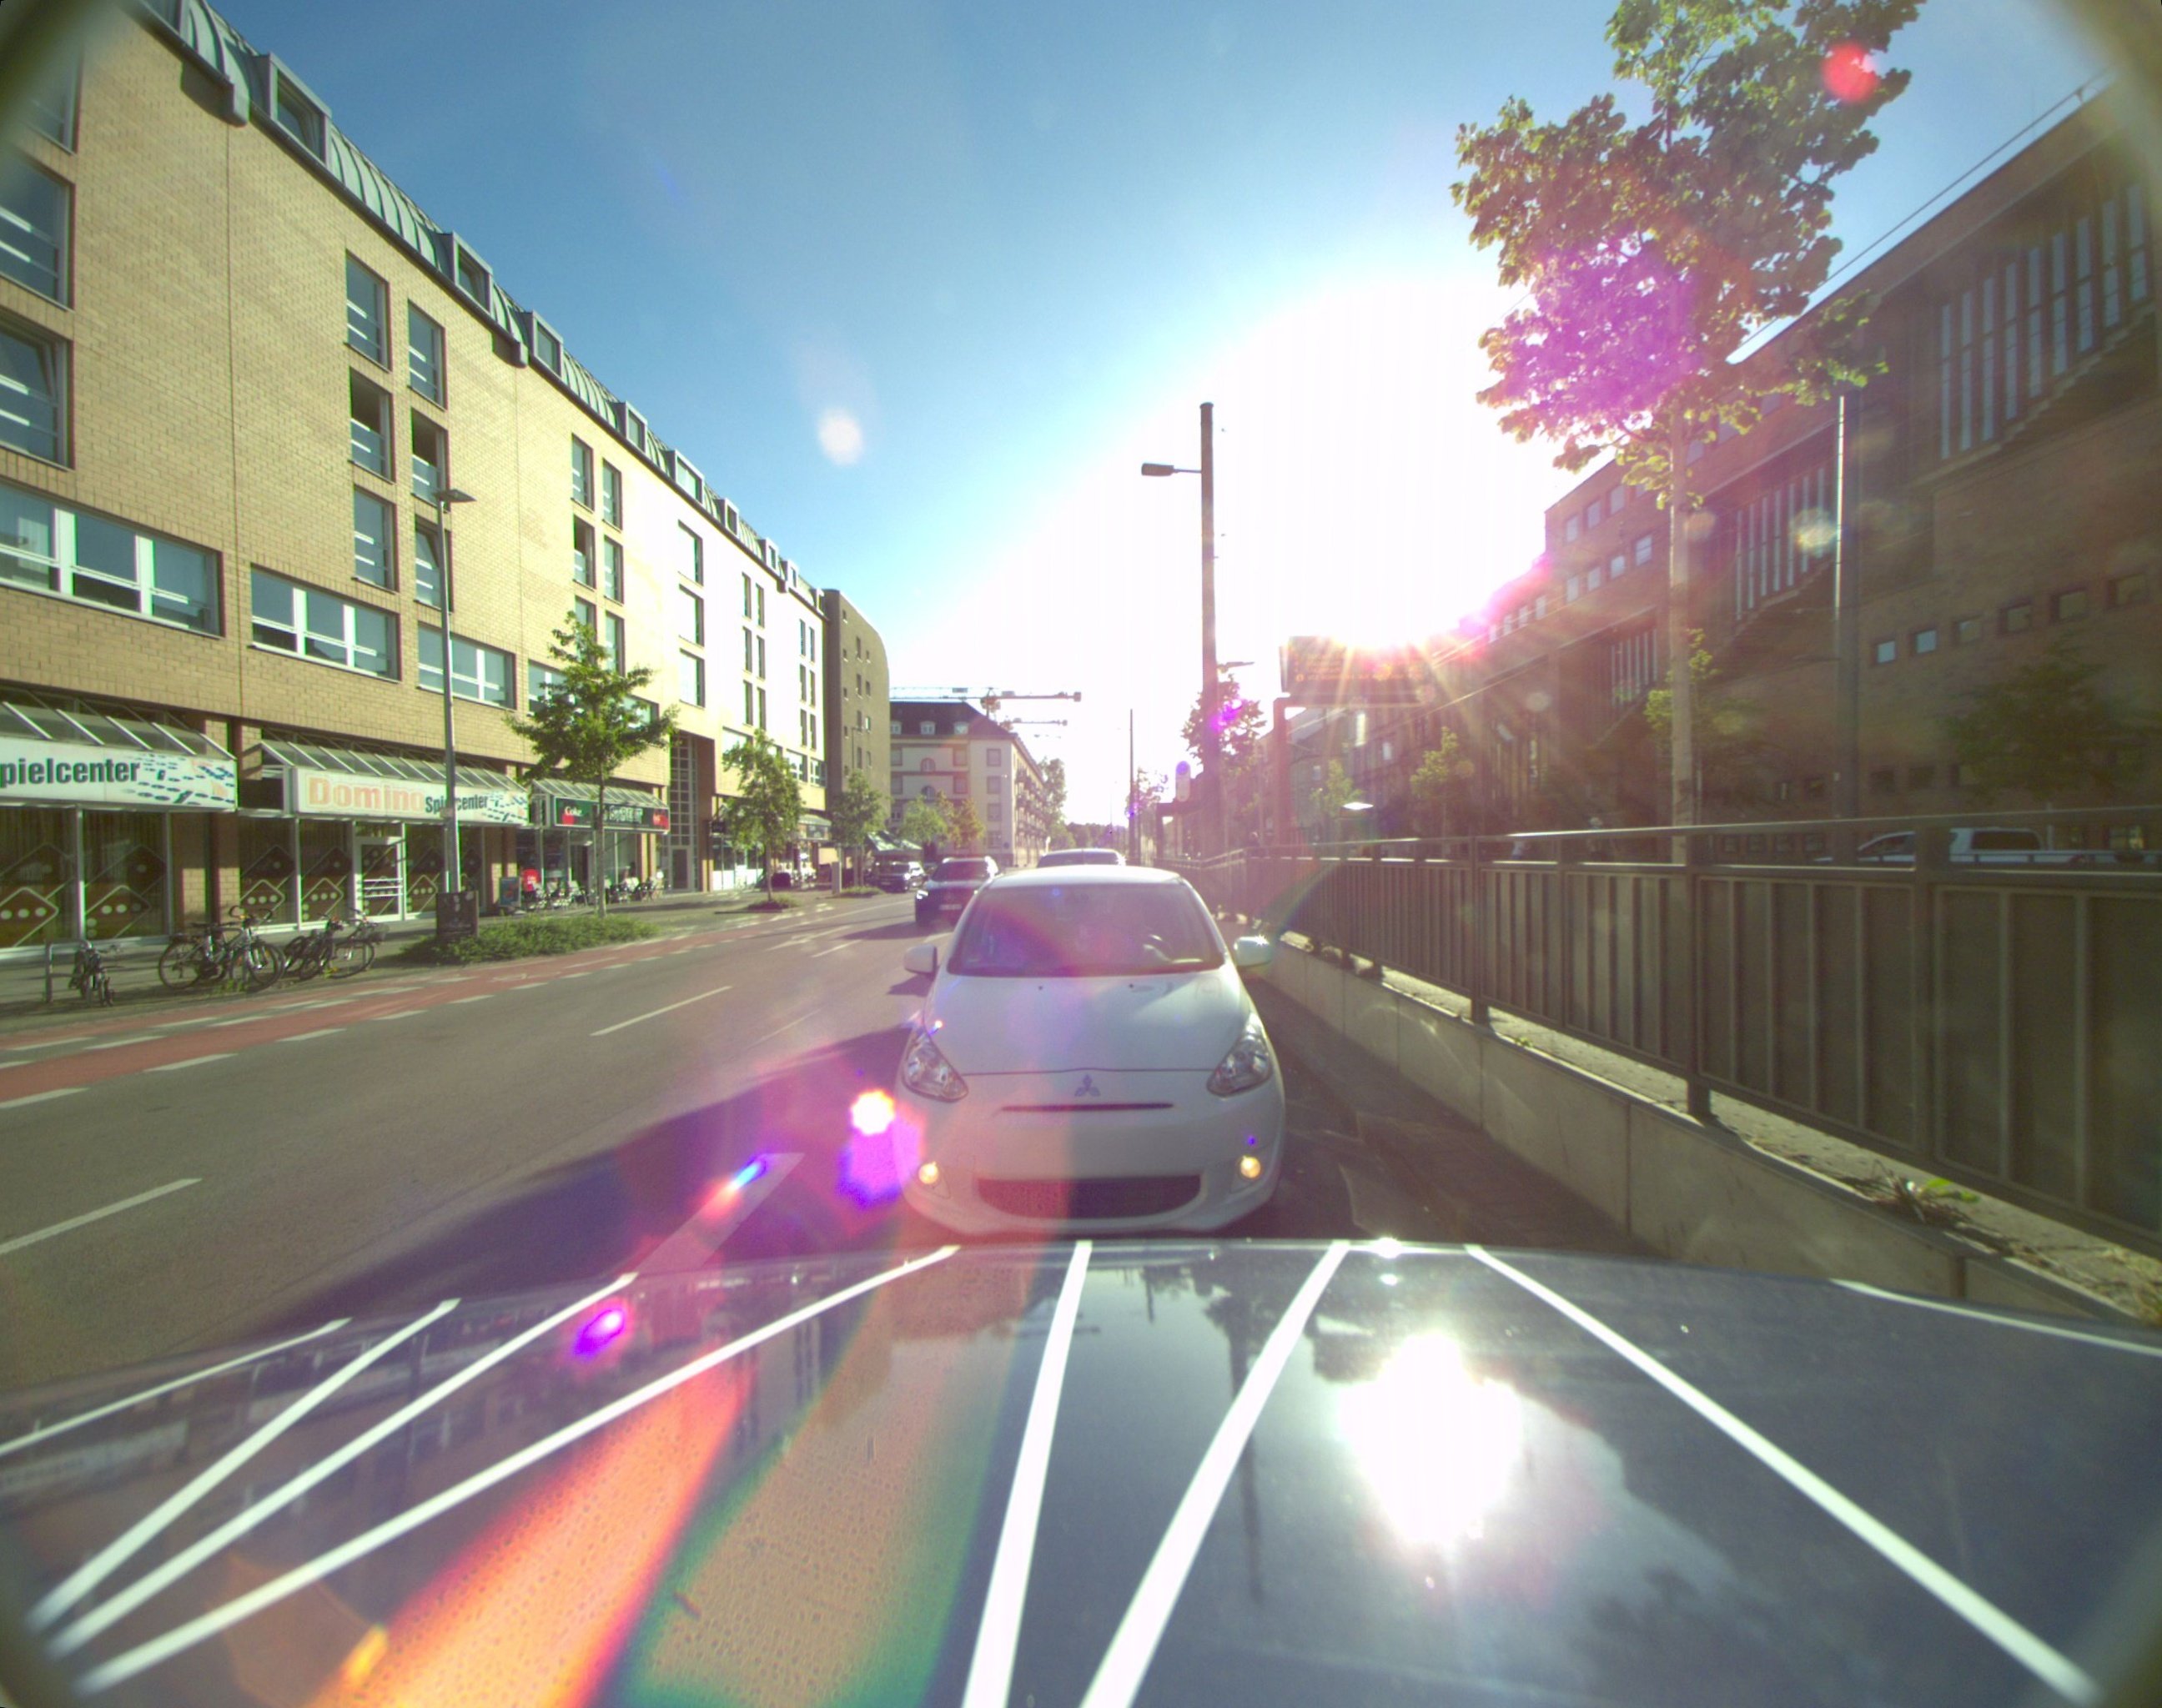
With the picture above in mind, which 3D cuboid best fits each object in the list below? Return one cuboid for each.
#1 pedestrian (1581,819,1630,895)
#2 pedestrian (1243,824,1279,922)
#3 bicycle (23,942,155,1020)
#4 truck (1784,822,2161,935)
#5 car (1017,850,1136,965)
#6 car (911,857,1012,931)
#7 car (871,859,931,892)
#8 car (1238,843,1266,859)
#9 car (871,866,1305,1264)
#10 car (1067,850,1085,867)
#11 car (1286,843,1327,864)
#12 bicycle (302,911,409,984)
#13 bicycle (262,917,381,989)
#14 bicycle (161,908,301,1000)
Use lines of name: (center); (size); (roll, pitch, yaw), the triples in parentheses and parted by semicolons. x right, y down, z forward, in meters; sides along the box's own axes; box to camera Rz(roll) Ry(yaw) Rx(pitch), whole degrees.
pedestrian: (12.841, 0.067, 18.614); (0.685, 1.797, 0.668); (-2, 2, 0)
pedestrian: (4.541, 0.471, 19.211); (0.684, 2.428, 0.626); (-2, 2, -2)
bicycle: (-12.772, 1.619, 9.779); (1.772, 0.827, 0.366); (1, 2, 15)
truck: (17.575, 0.414, 15.293); (1.999, 1.868, 5.155); (1, 0, 0)
car: (-0.066, 0.792, 13.498); (1.720, 1.591, 4.215); (-2, 1, 0)
car: (-2.975, 0.949, 19.925); (1.808, 1.586, 4.453); (-3, 0, 1)
car: (-9.761, 1.138, 41.593); (1.778, 1.630, 4.002); (-1, 0, 9)
car: (17.343, -0.353, 77.296); (1.830, 1.559, 4.240); (0, 1, 0)
car: (0.030, 0.904, 5.219); (1.720, 1.422, 4.215); (-2, 1, 0)
car: (-0.614, 0.553, 92.899); (2.164, 1.904, 4.472); (-2, 0, 0)
car: (17.721, -0.064, 59.960); (1.830, 1.559, 4.693); (0, 1, 0)
bicycle: (-11.897, 1.514, 12.459); (1.835, 1.050, 0.350); (1, 2, 15)
bicycle: (-12.018, 1.544, 12.020); (1.835, 0.980, 0.449); (1, 2, 15)
bicycle: (-12.306, 1.423, 11.005); (1.835, 1.156, 0.565); (1, 2, 15)
